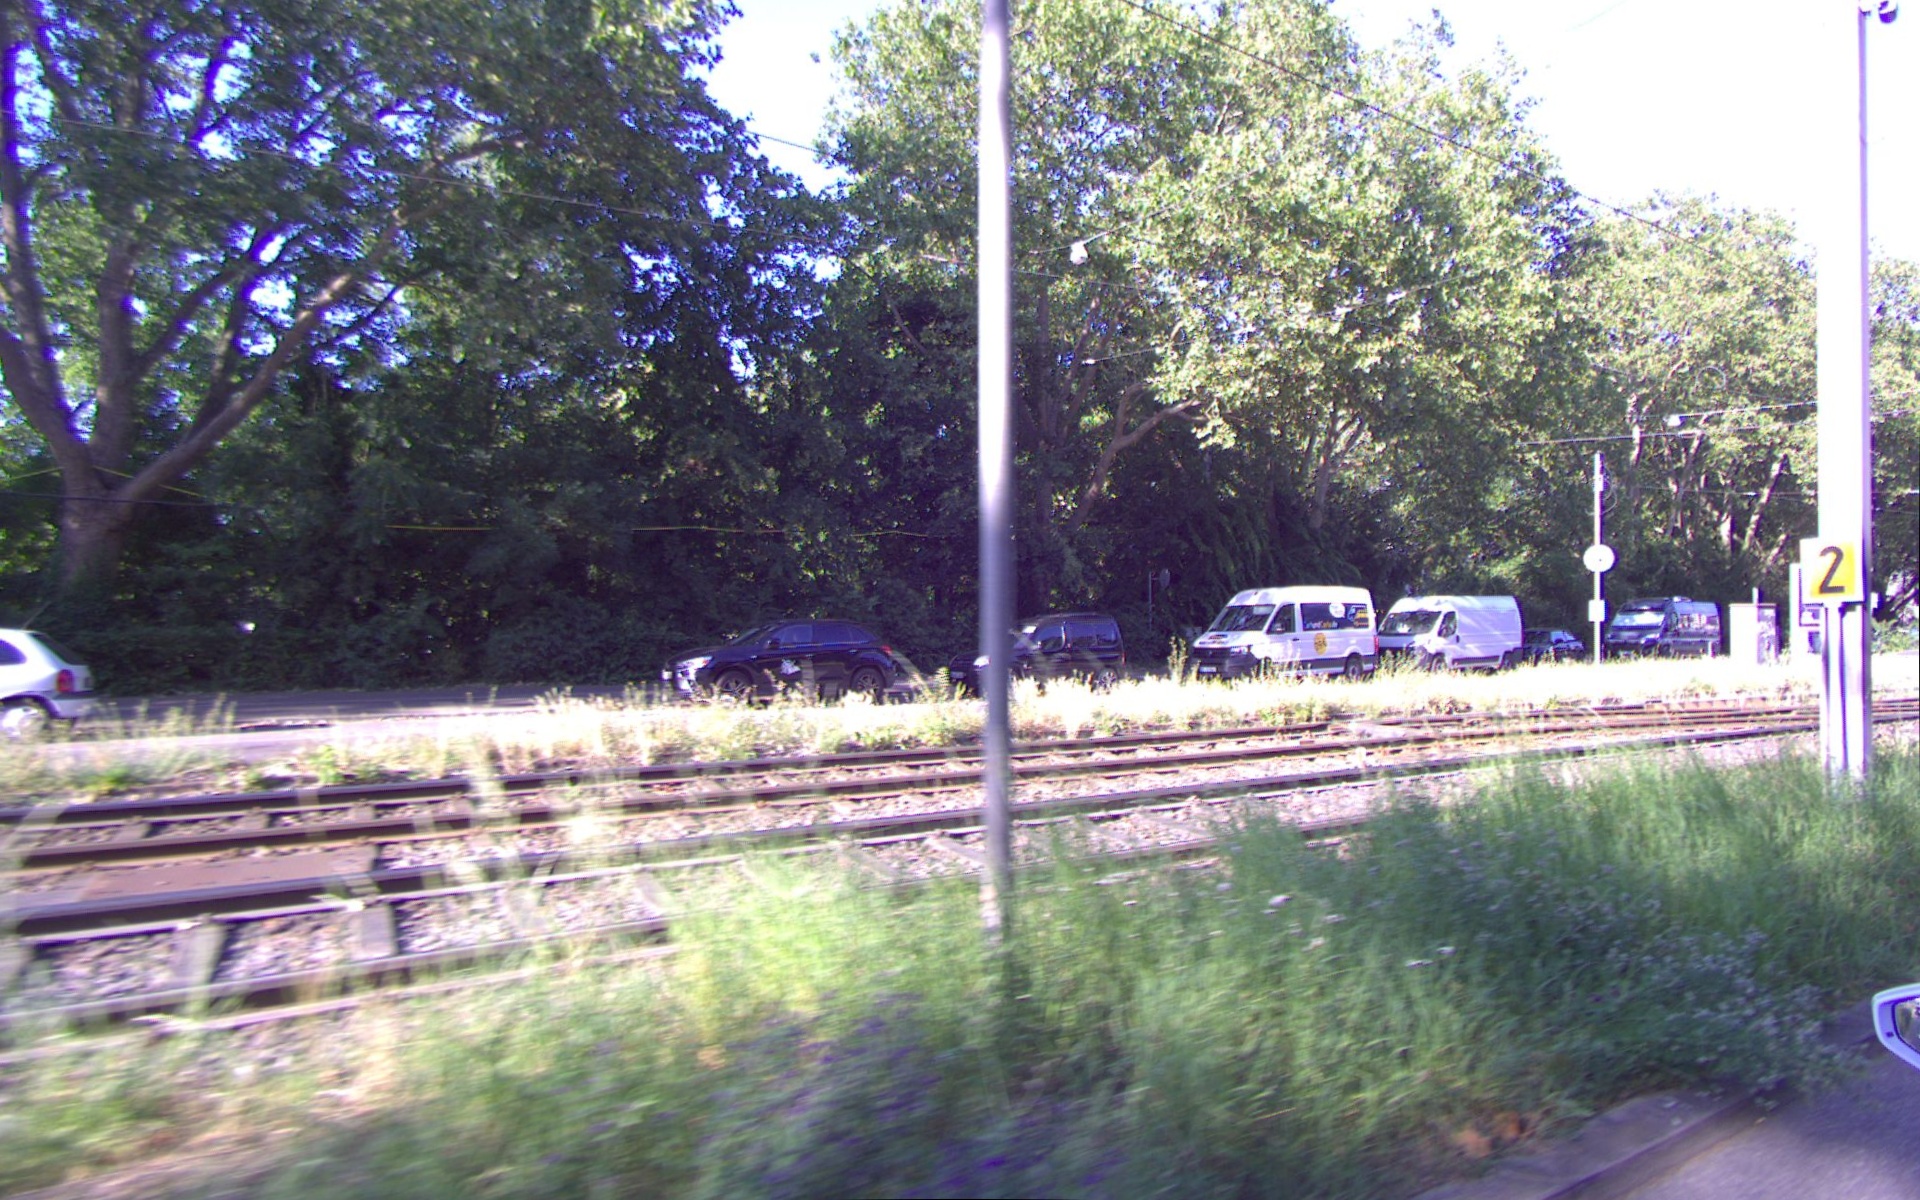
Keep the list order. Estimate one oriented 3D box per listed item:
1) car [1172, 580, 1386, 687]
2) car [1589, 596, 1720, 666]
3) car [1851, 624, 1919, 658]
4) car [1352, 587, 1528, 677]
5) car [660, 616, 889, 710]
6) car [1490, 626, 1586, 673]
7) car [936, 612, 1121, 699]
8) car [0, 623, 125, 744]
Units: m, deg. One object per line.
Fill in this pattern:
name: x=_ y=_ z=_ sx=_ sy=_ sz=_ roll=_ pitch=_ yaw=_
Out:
car: x=8.515 y=0.916 z=26.535 sx=5.988 sy=2.553 sz=2.170 roll=2 pitch=-3 yaw=-34
car: x=27.155 y=1.252 z=39.196 sx=5.969 sy=2.553 sz=2.171 roll=2 pitch=-3 yaw=-34
car: x=47.194 y=2.091 z=51.102 sx=3.933 sy=1.673 sz=1.891 roll=2 pitch=-3 yaw=-35
car: x=14.966 y=1.041 z=31.146 sx=6.210 sy=2.553 sz=2.169 roll=2 pitch=-3 yaw=-35
car: x=-3.410 y=1.146 z=18.703 sx=3.842 sy=1.575 sz=1.728 roll=2 pitch=-3 yaw=-34
car: x=19.807 y=1.683 z=34.424 sx=3.233 sy=1.532 sz=1.641 roll=2 pitch=-3 yaw=-35
car: x=1.541 y=1.210 z=22.093 sx=3.842 sy=1.750 sz=1.728 roll=2 pitch=-3 yaw=-34
car: x=-12.828 y=1.004 z=12.282 sx=3.812 sy=1.455 sz=1.728 roll=2 pitch=-3 yaw=-34
